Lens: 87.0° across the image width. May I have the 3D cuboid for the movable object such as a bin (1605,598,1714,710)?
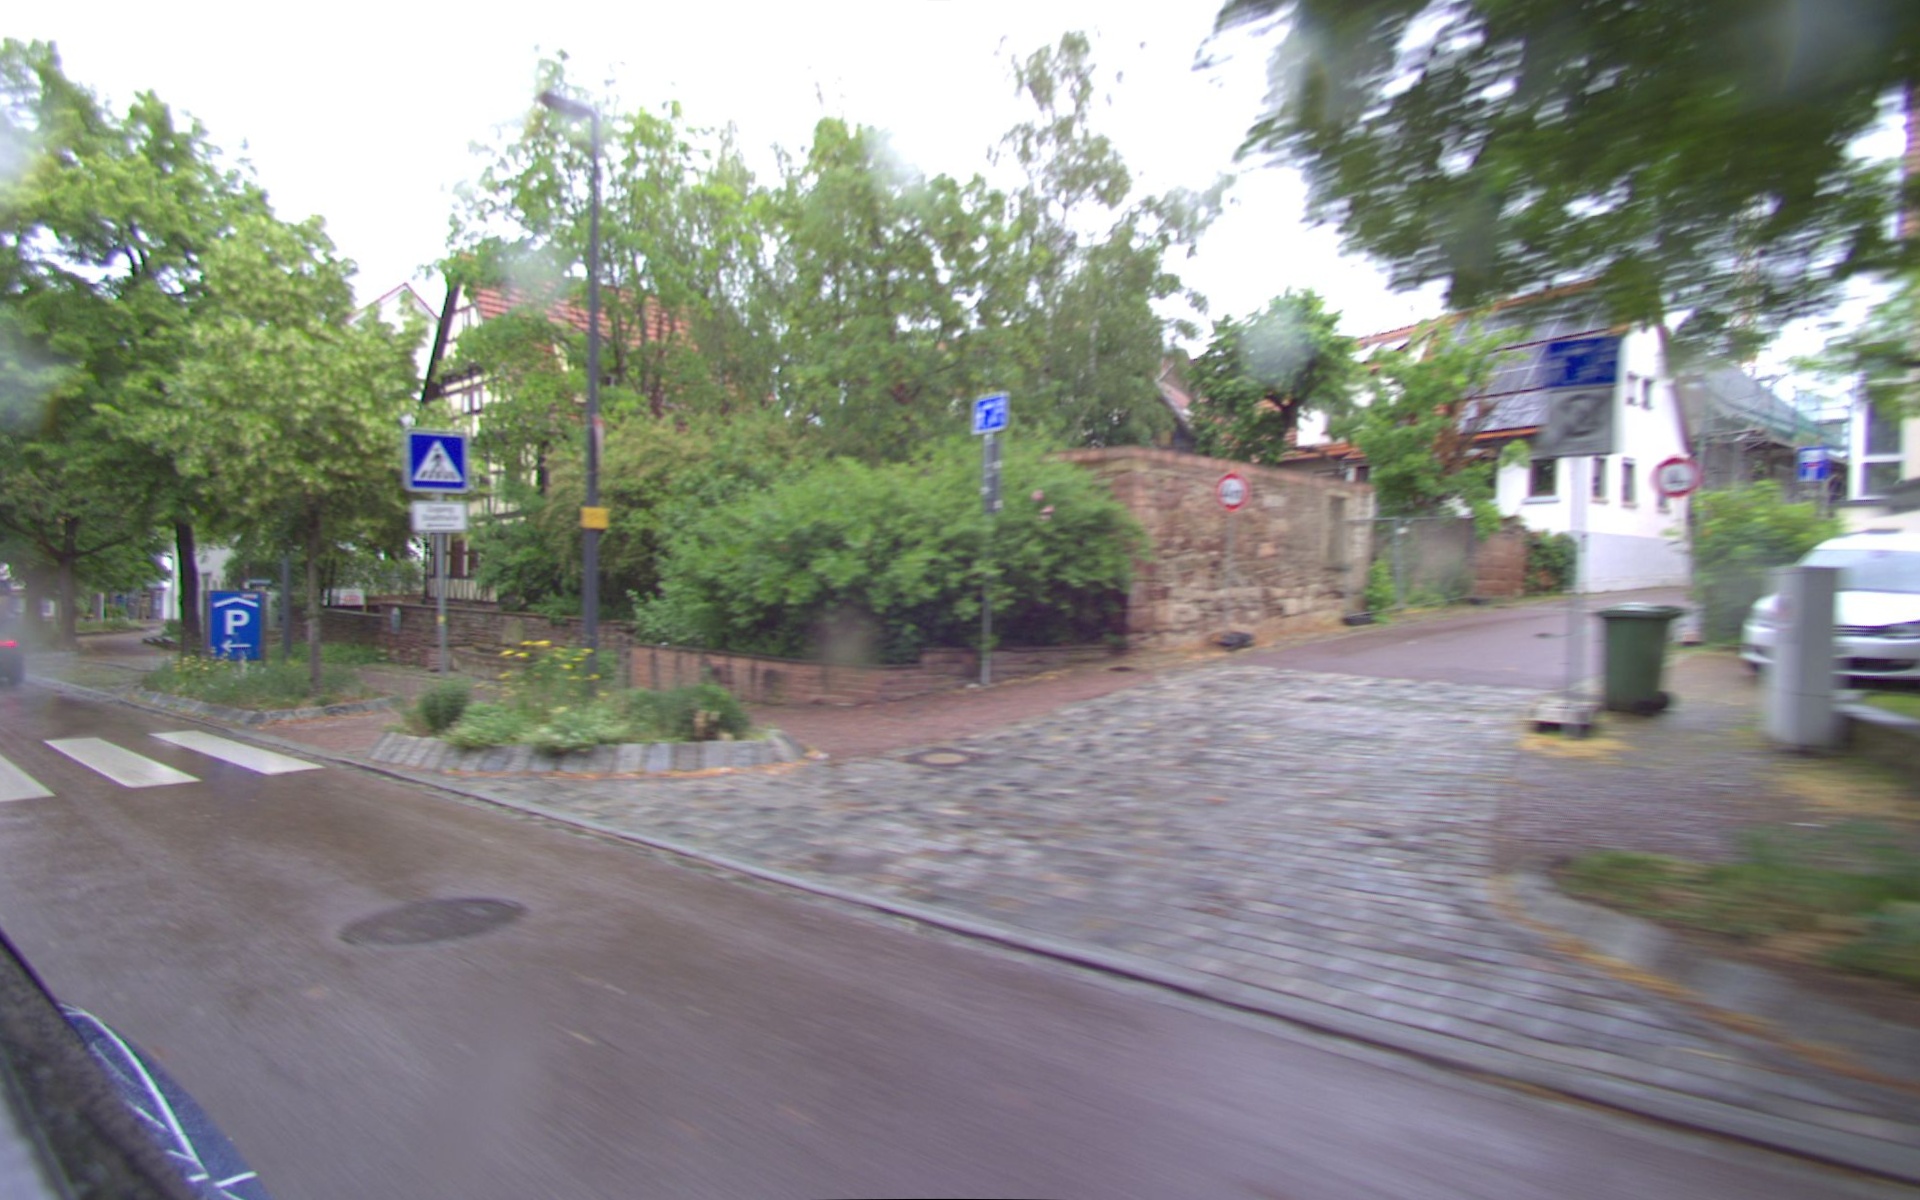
[{"bbox_3d":[6.813,0.503,9.867,0.565,1.042,0.740,0,0,-37],"label":"movable object such as a bin"}]

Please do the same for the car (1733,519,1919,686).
[{"bbox_3d":[11.344,-0.009,12.031,4.369,1.700,2.006,-1,0,-32],"label":"car"}]

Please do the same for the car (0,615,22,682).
[{"bbox_3d":[-22.232,1.093,22.317,4.407,1.396,1.836,-1,1,42],"label":"car"}]
